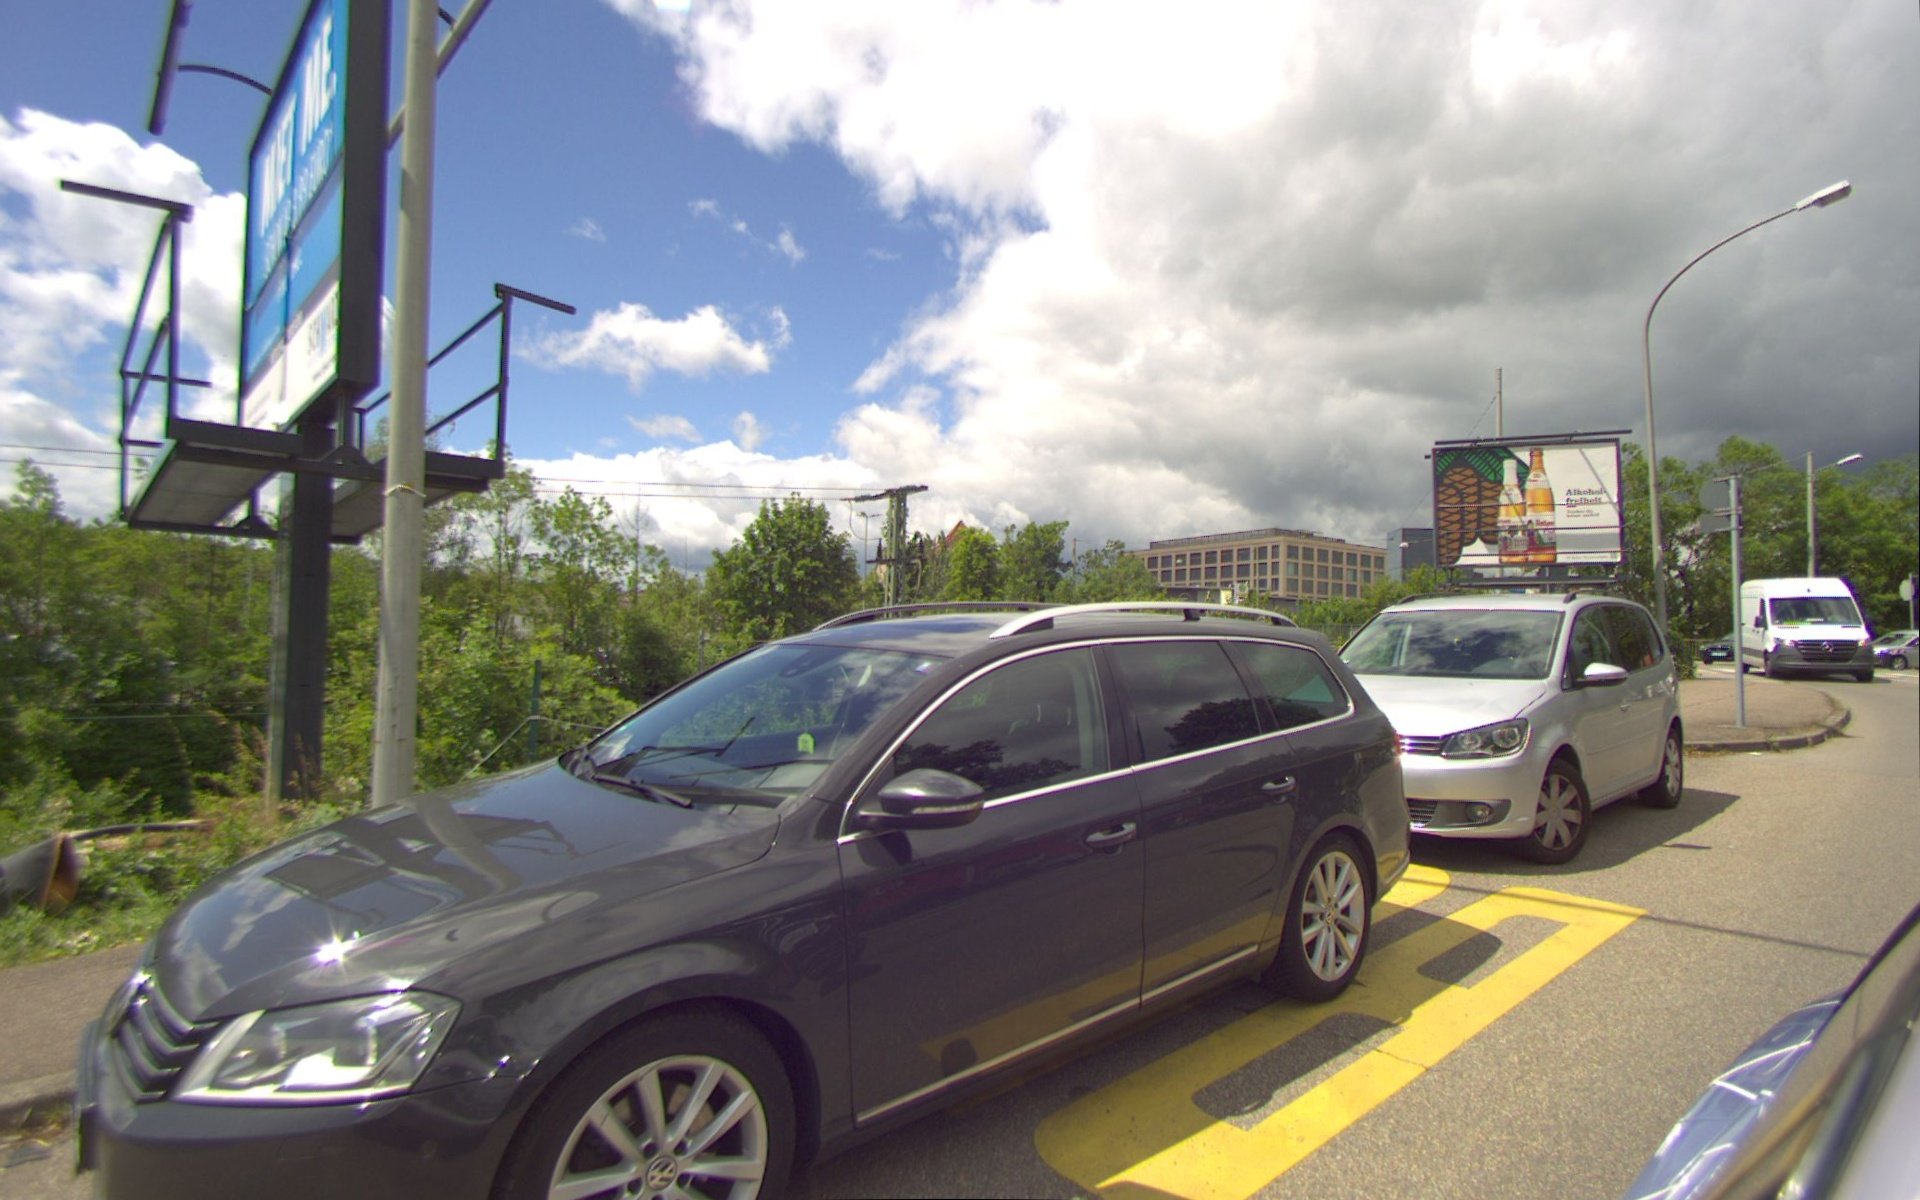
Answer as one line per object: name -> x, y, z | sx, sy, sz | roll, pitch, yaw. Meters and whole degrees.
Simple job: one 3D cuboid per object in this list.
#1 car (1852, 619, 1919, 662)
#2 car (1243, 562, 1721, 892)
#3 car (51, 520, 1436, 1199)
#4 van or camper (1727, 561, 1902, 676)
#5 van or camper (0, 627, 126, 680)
car -> 39.718, 1.712, 41.664 | 4.316, 1.608, 2.000 | 3, -3, -2
car -> 3.958, 0.704, 7.321 | 4.234, 1.699, 1.707 | 1, -2, -43
car -> -0.145, 0.693, 3.547 | 4.495, 1.506, 1.707 | 1, -2, -43
van or camper -> 21.955, 0.519, 26.313 | 2.173, 2.600, 5.869 | 2, -2, 28
van or camper -> -49.237, 2.888, 55.464 | 5.201, 2.727, 1.928 | 0, -3, -34
